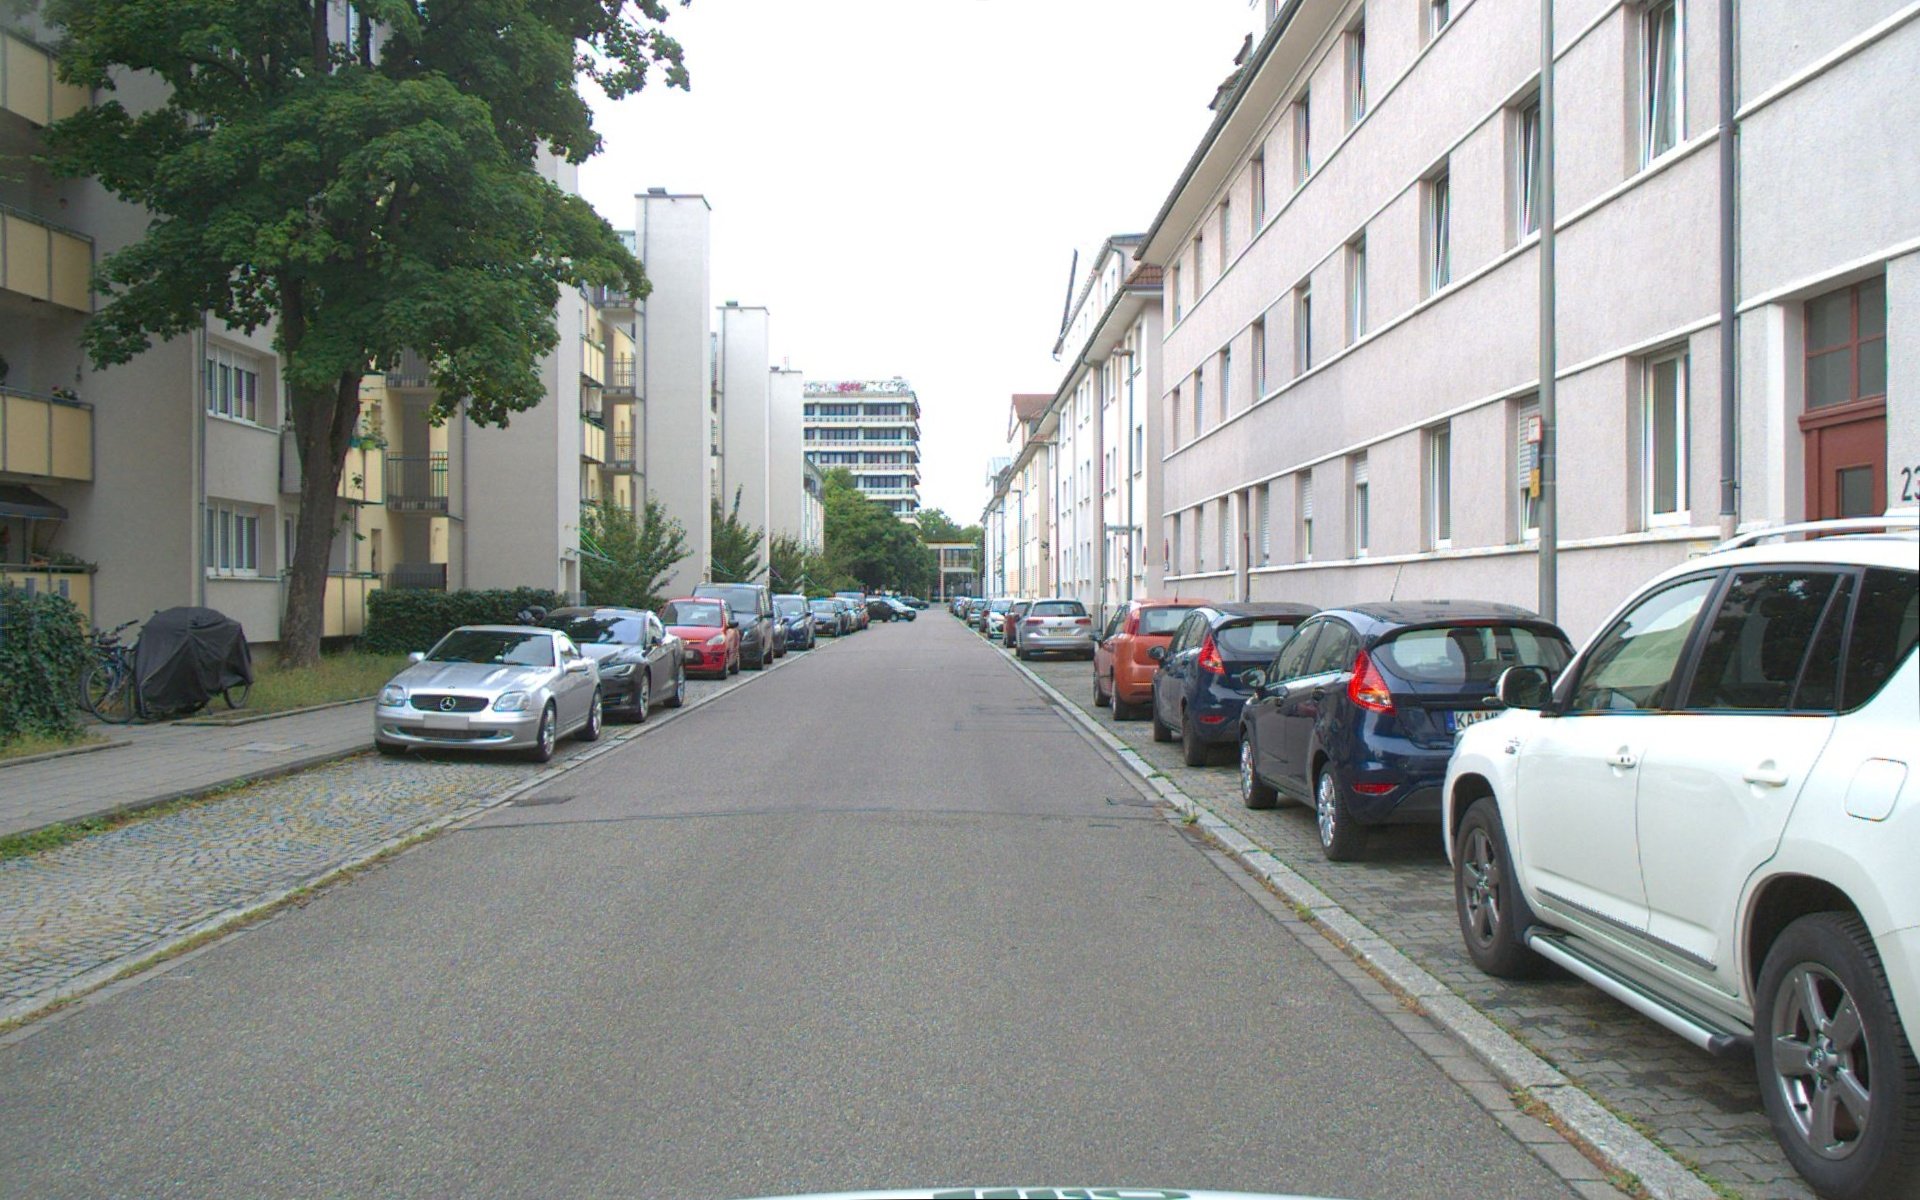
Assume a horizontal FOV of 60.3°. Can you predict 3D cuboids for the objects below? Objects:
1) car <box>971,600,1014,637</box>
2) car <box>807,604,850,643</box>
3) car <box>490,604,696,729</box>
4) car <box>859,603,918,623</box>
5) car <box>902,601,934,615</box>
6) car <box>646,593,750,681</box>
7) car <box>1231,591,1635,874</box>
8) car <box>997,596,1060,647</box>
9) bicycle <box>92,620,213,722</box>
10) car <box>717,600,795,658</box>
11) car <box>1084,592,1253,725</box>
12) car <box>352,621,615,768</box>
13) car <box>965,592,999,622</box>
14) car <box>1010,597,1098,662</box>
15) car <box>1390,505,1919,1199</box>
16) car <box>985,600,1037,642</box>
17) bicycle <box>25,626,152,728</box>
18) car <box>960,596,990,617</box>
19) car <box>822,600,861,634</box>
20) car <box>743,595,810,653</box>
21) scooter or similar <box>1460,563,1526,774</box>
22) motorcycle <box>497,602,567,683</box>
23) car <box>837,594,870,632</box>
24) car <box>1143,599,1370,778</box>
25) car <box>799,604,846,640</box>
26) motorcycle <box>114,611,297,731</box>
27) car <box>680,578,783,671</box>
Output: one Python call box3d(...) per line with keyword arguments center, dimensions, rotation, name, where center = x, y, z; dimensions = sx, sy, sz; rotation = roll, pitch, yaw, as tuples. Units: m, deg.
box3d(center=(1.446, 0.830, 74.827), dimensions=(1.782, 1.604, 3.751), rotation=(1, 0, -1), name="car")
box3d(center=(-5.683, 1.003, 71.936), dimensions=(1.637, 1.591, 3.663), rotation=(1, 0, -1), name="car")
box3d(center=(-4.889, 0.824, 22.694), dimensions=(1.804, 1.446, 4.628), rotation=(2, 0, -1), name="car")
box3d(center=(-4.793, 0.877, 111.302), dimensions=(3.651, 1.235, 1.545), rotation=(1, 0, 17), name="car")
box3d(center=(-5.174, 0.948, 203.863), dimensions=(3.906, 1.512, 2.000), rotation=(3, 0, -1), name="car")
box3d(center=(-5.157, 0.688, 32.934), dimensions=(1.532, 1.596, 3.641), rotation=(3, 0, -2), name="car")
box3d(center=(2.851, 0.703, 10.793), dimensions=(1.535, 1.504, 3.871), rotation=(0, 0, 0), name="car")
box3d(center=(2.095, 0.638, 51.400), dimensions=(1.636, 1.445, 3.998), rotation=(-2, 0, -2), name="car")
box3d(center=(-9.444, 0.803, 19.416), dimensions=(0.540, 1.120, 1.774), rotation=(0, 0, 0), name="bicycle")
box3d(center=(-5.539, 0.752, 45.370), dimensions=(1.794, 1.484, 4.257), rotation=(1, 0, -3), name="car")
box3d(center=(2.633, 0.695, 21.671), dimensions=(1.662, 1.552, 3.825), rotation=(-1, 0, -1), name="car")
box3d(center=(-4.940, 0.925, 17.717), dimensions=(1.662, 1.280, 4.014), rotation=(2, 0, -1), name="car")
box3d(center=(1.191, 0.351, 91.853), dimensions=(1.782, 1.604, 3.883), rotation=(1, 0, -1), name="car")
box3d(center=(2.243, 0.682, 40.701), dimensions=(1.720, 1.493, 4.598), rotation=(1, 0, -2), name="car")
box3d(center=(2.979, 0.612, 5.469), dimensions=(1.806, 1.703, 4.287), rotation=(-1, 0, -3), name="car")
box3d(center=(1.927, 0.776, 63.079), dimensions=(1.782, 1.531, 3.751), rotation=(1, 0, -1), name="car")
box3d(center=(-10.251, 0.880, 19.519), dimensions=(0.540, 1.120, 1.774), rotation=(0, 0, 0), name="bicycle")
box3d(center=(1.070, 0.471, 118.901), dimensions=(1.953, 1.422, 3.999), rotation=(3, 0, -2), name="car")
box3d(center=(-5.696, 0.788, 80.141), dimensions=(1.637, 1.552, 4.252), rotation=(1, 0, -1), name="car")
box3d(center=(-5.557, 0.688, 50.565), dimensions=(1.734, 1.672, 4.352), rotation=(1, 0, -3), name="car")
box3d(center=(5.305, 0.671, 16.458), dimensions=(0.340, 2.049, 0.675), rotation=(2, 0, 38), name="scooter or similar")
box3d(center=(-7.743, 0.739, 30.025), dimensions=(0.663, 1.379, 2.229), rotation=(2, 0, -1), name="motorcycle")
box3d(center=(-5.806, 0.690, 90.396), dimensions=(1.637, 1.972, 3.741), rotation=(1, 0, -1), name="car")
box3d(center=(2.791, 0.768, 16.259), dimensions=(1.535, 1.499, 3.696), rotation=(2, 0, 0), name="car")
box3d(center=(-5.584, 0.878, 67.558), dimensions=(1.637, 1.375, 3.815), rotation=(1, 0, -1), name="car")
box3d(center=(-8.691, 0.772, 19.237), dimensions=(0.667, 1.245, 3.066), rotation=(1, 0, 1), name="motorcycle")
box3d(center=(-5.175, 0.514, 38.063), dimensions=(1.841, 1.937, 5.028), rotation=(2, 0, -3), name="car")
